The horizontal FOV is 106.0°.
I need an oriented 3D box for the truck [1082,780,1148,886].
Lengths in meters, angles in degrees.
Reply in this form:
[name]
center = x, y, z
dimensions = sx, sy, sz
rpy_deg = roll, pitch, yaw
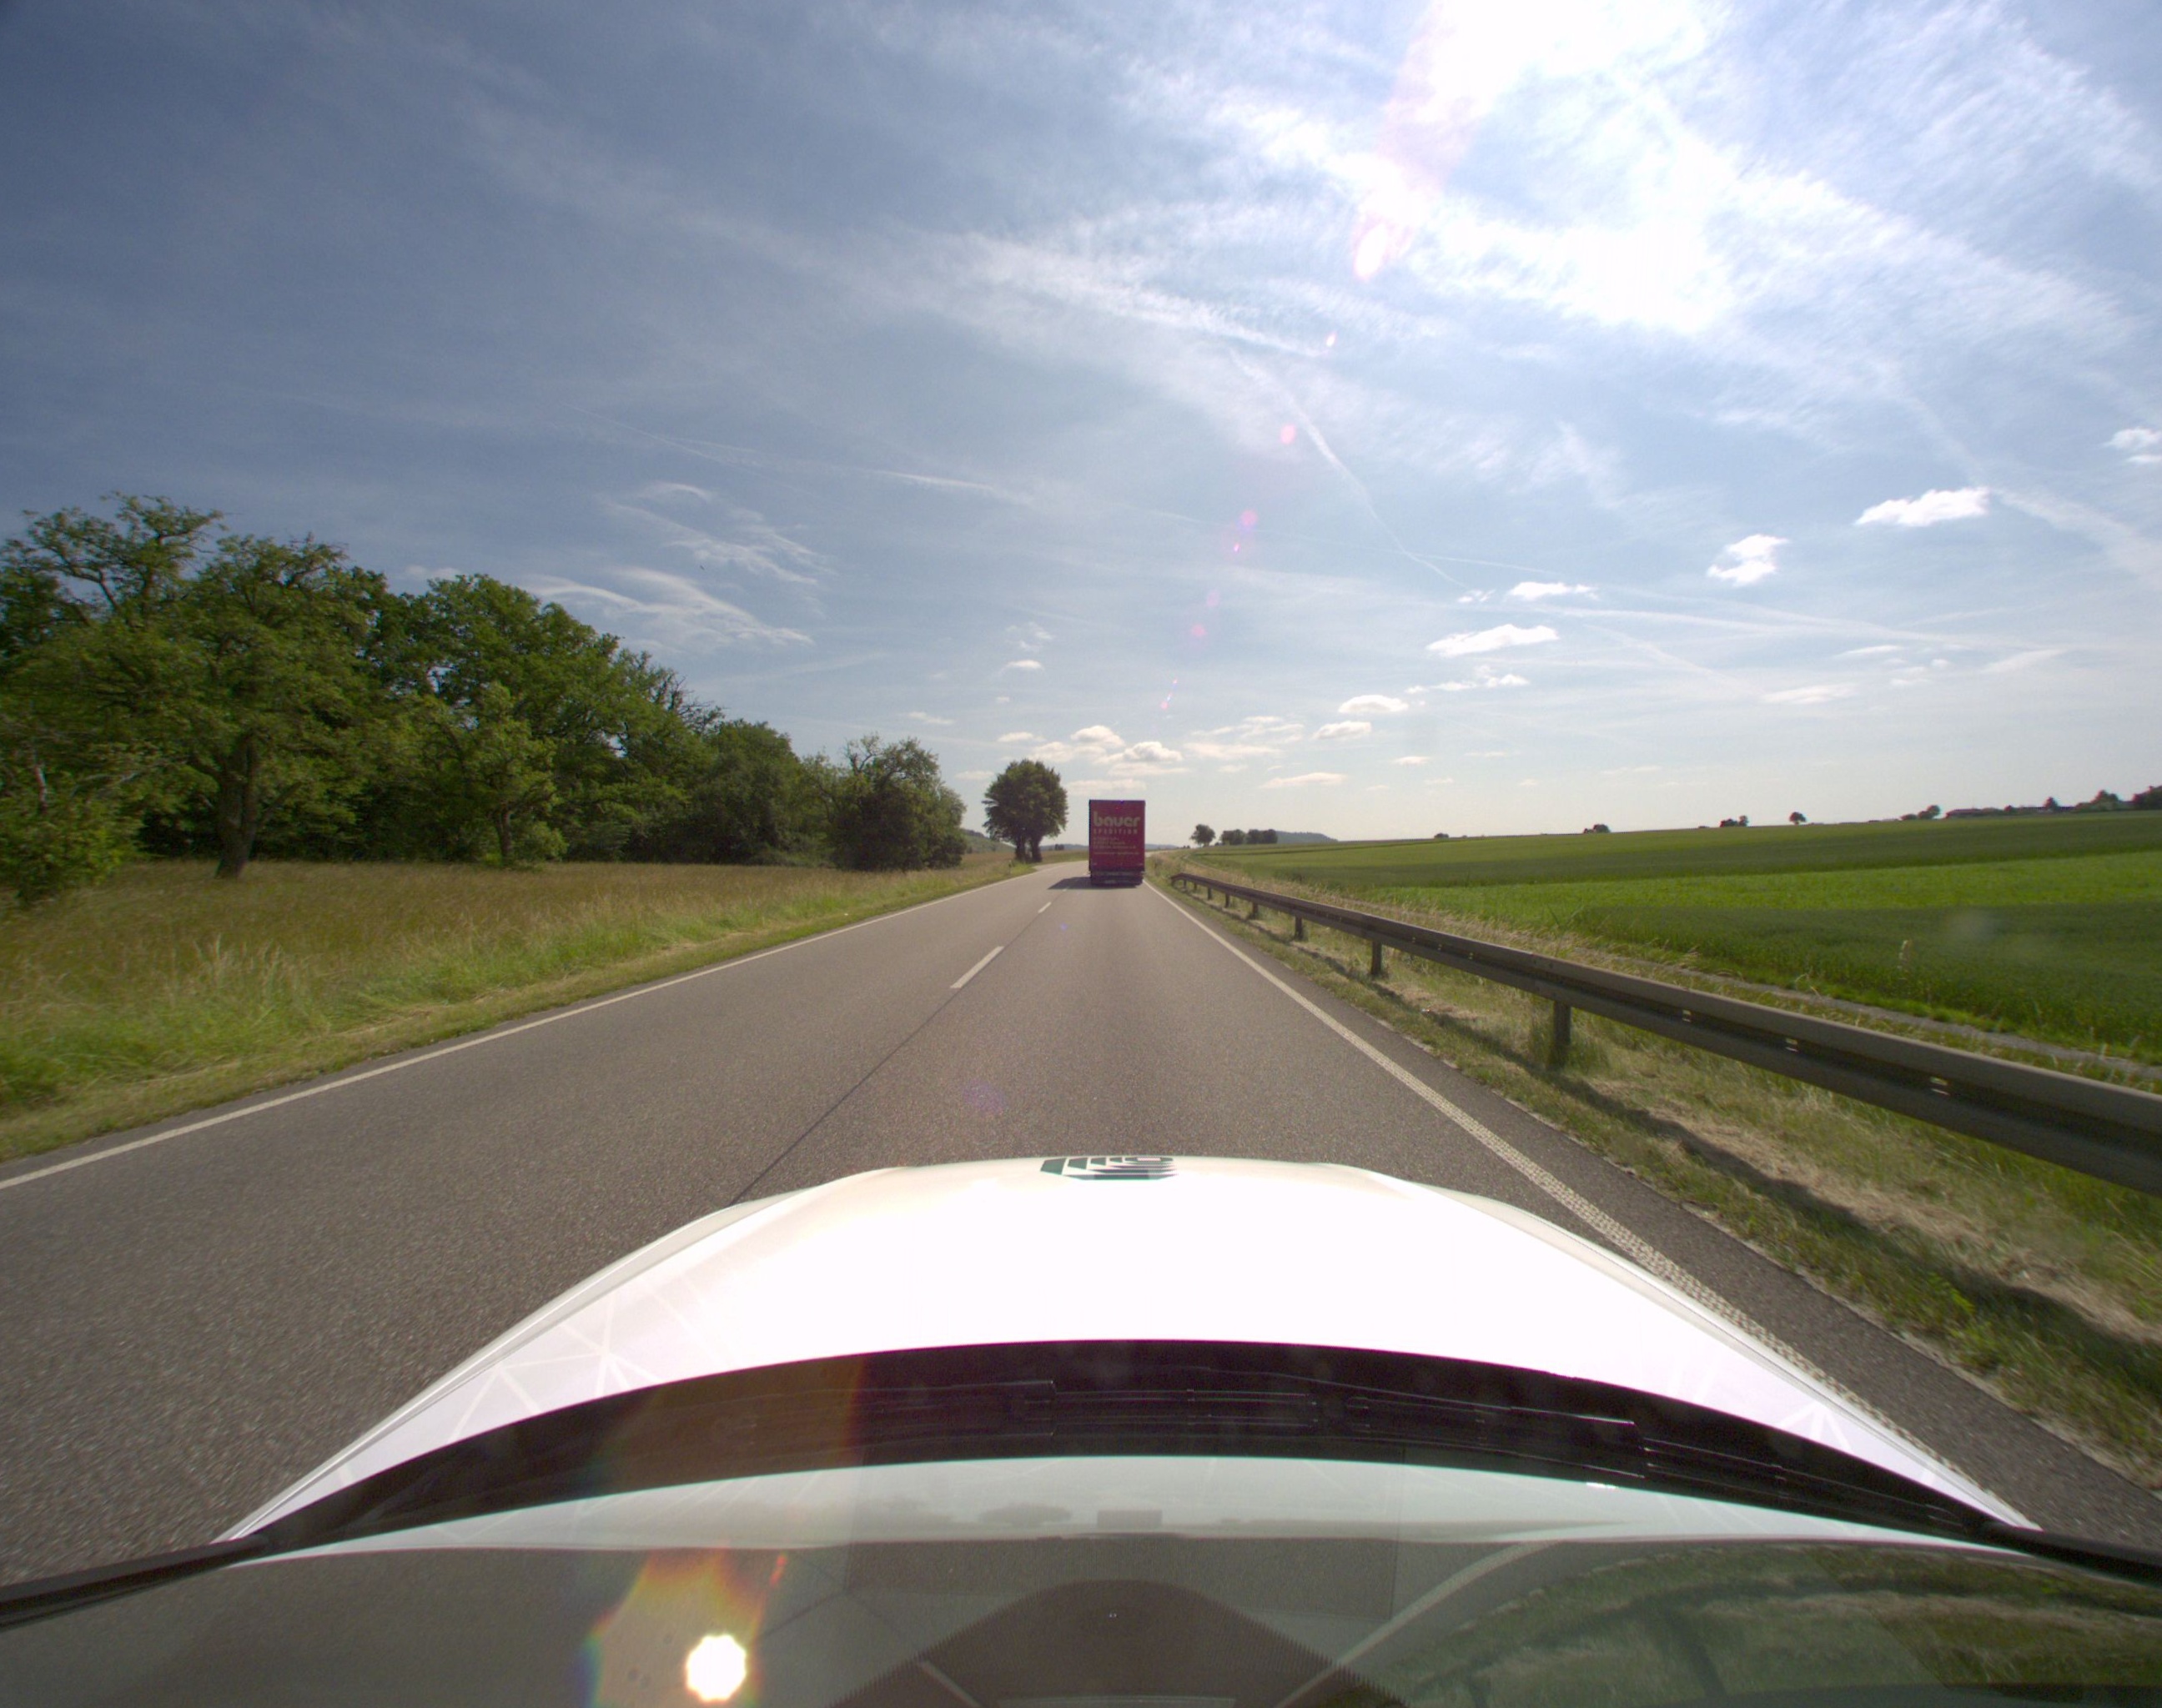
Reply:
[truck]
center = 1.576, -0.890, 40.977
dimensions = 2.965, 4.713, 9.365
rpy_deg = 0, -1, 1
